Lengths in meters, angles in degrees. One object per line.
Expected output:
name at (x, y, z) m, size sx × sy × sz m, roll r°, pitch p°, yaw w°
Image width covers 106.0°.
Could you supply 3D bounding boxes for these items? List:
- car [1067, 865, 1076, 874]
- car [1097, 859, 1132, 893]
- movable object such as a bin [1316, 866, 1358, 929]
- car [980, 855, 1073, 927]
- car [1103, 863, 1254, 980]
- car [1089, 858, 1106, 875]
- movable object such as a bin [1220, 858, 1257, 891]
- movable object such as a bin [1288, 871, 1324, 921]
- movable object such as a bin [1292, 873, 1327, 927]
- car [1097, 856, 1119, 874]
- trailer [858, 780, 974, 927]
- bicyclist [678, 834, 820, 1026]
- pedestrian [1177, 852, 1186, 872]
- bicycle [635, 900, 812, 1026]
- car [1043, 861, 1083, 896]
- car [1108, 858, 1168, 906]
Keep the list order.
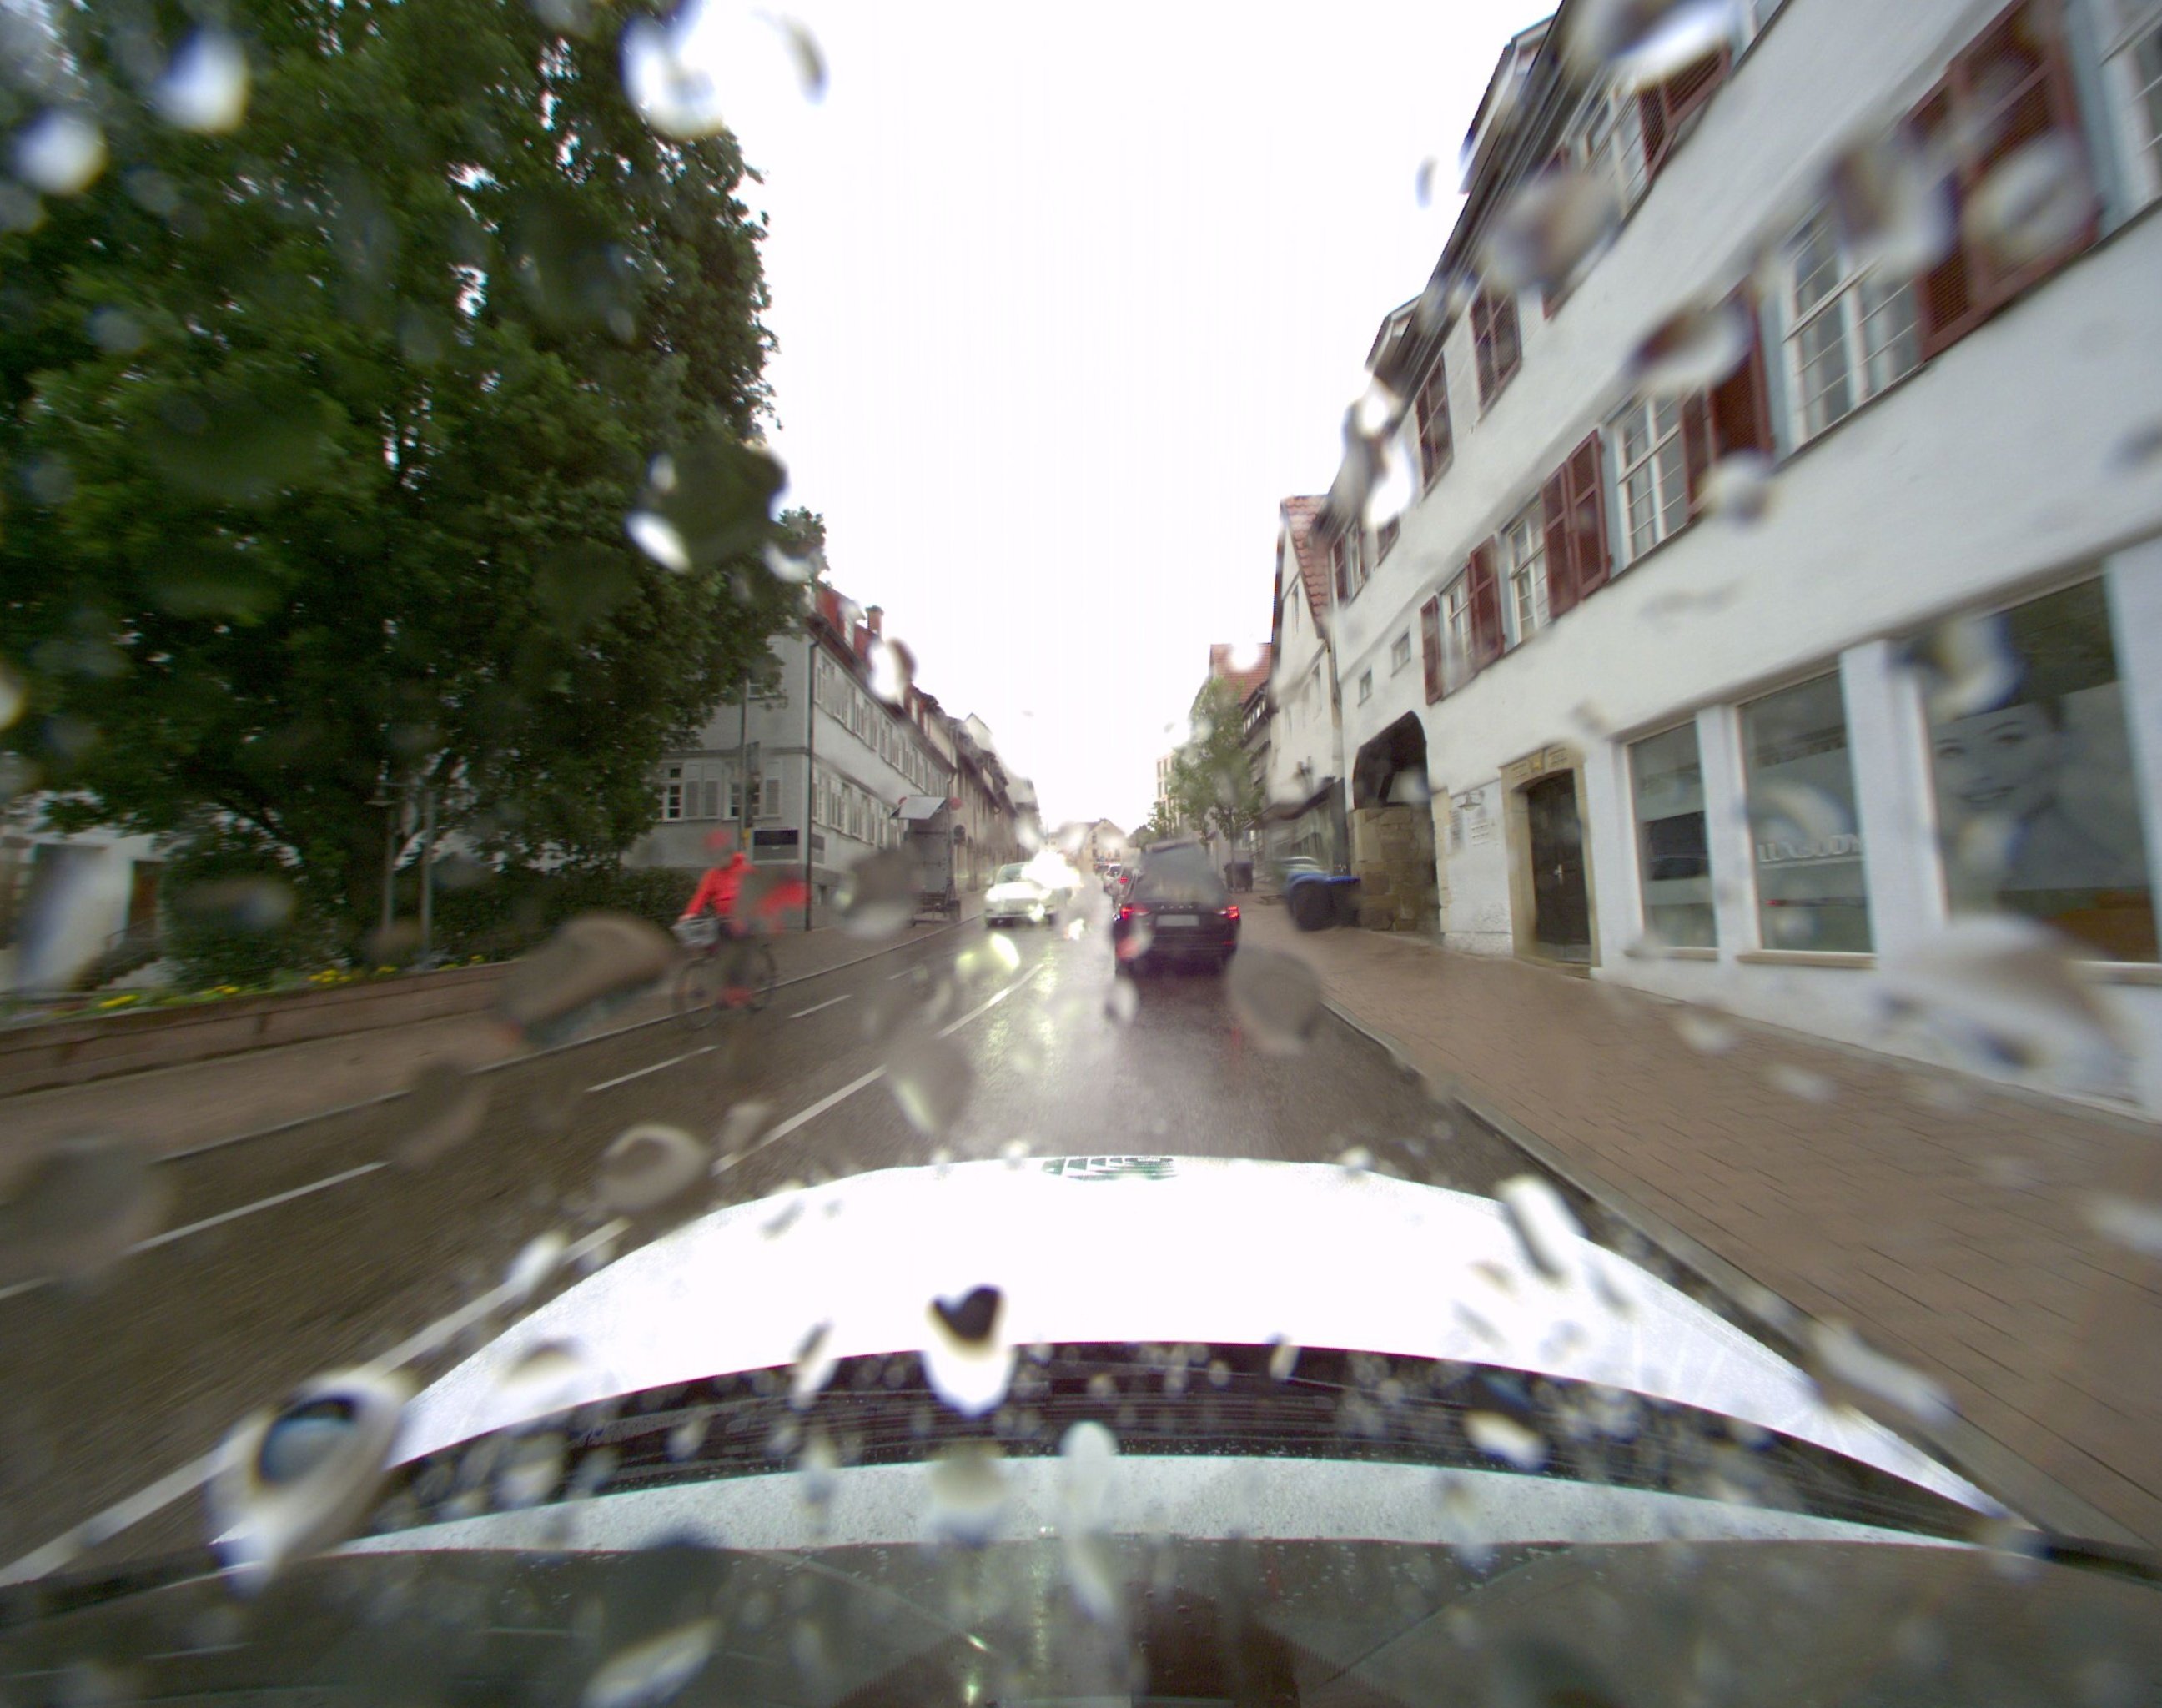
car at (-1.691, 2.844, 147.408) m, size 1.622 × 1.530 × 3.998 m, roll -1°, pitch 0°, yaw -1°
car at (1.730, 1.193, 43.320) m, size 1.623 × 1.530 × 3.996 m, roll -2°, pitch -5°, yaw -1°
movable object such as a bin at (5.160, 0.871, 16.426) m, size 0.622 × 1.205 × 0.605 m, roll -2°, pitch 1°, yaw -1°
car at (-1.384, 0.948, 22.454) m, size 1.865 × 1.662 × 4.312 m, roll -5°, pitch -1°, yaw 4°
car at (1.433, 0.896, 12.592) m, size 1.878 × 1.448 × 4.363 m, roll -1°, pitch -1°, yaw 5°
car at (1.987, 1.562, 99.402) m, size 1.986 × 2.014 × 4.001 m, roll -1°, pitch -1°, yaw 1°
movable object such as a bin at (6.774, 0.867, 35.047) m, size 1.282 × 1.349 × 1.487 m, roll -1°, pitch -1°, yaw 1°
movable object such as a bin at (5.004, 0.922, 18.142) m, size 0.656 × 1.062 × 0.615 m, roll -1°, pitch -1°, yaw 4°
movable object such as a bin at (4.779, 0.954, 17.082) m, size 0.564 × 1.108 × 0.677 m, roll -1°, pitch -1°, yaw 5°
car at (2.396, 0.994, 73.249) m, size 1.698 × 1.552 × 3.604 m, roll -1°, pitch 0°, yaw -1°
trailer at (-4.292, 0.032, 21.958) m, size 1.985 × 3.534 × 4.577 m, roll -1°, pitch -1°, yaw 3°
bicyclist at (-3.664, 0.816, 9.065) m, size 1.130 × 2.014 × 0.882 m, roll -1°, pitch -1°, yaw 8°
pedestrian at (8.472, 0.668, 68.532) m, size 0.702 × 1.725 × 0.833 m, roll -1°, pitch -1°, yaw 4°
bicycle at (-3.860, 1.125, 9.041) m, size 0.743 × 1.163 × 2.161 m, roll -2°, pitch -2°, yaw 8°
car at (-0.796, 1.099, 37.643) m, size 1.767 × 1.534 × 3.709 m, roll -1°, pitch 0°, yaw 0°
car at (1.982, 0.917, 27.631) m, size 1.847 × 1.473 × 4.005 m, roll -1°, pitch -1°, yaw 5°
